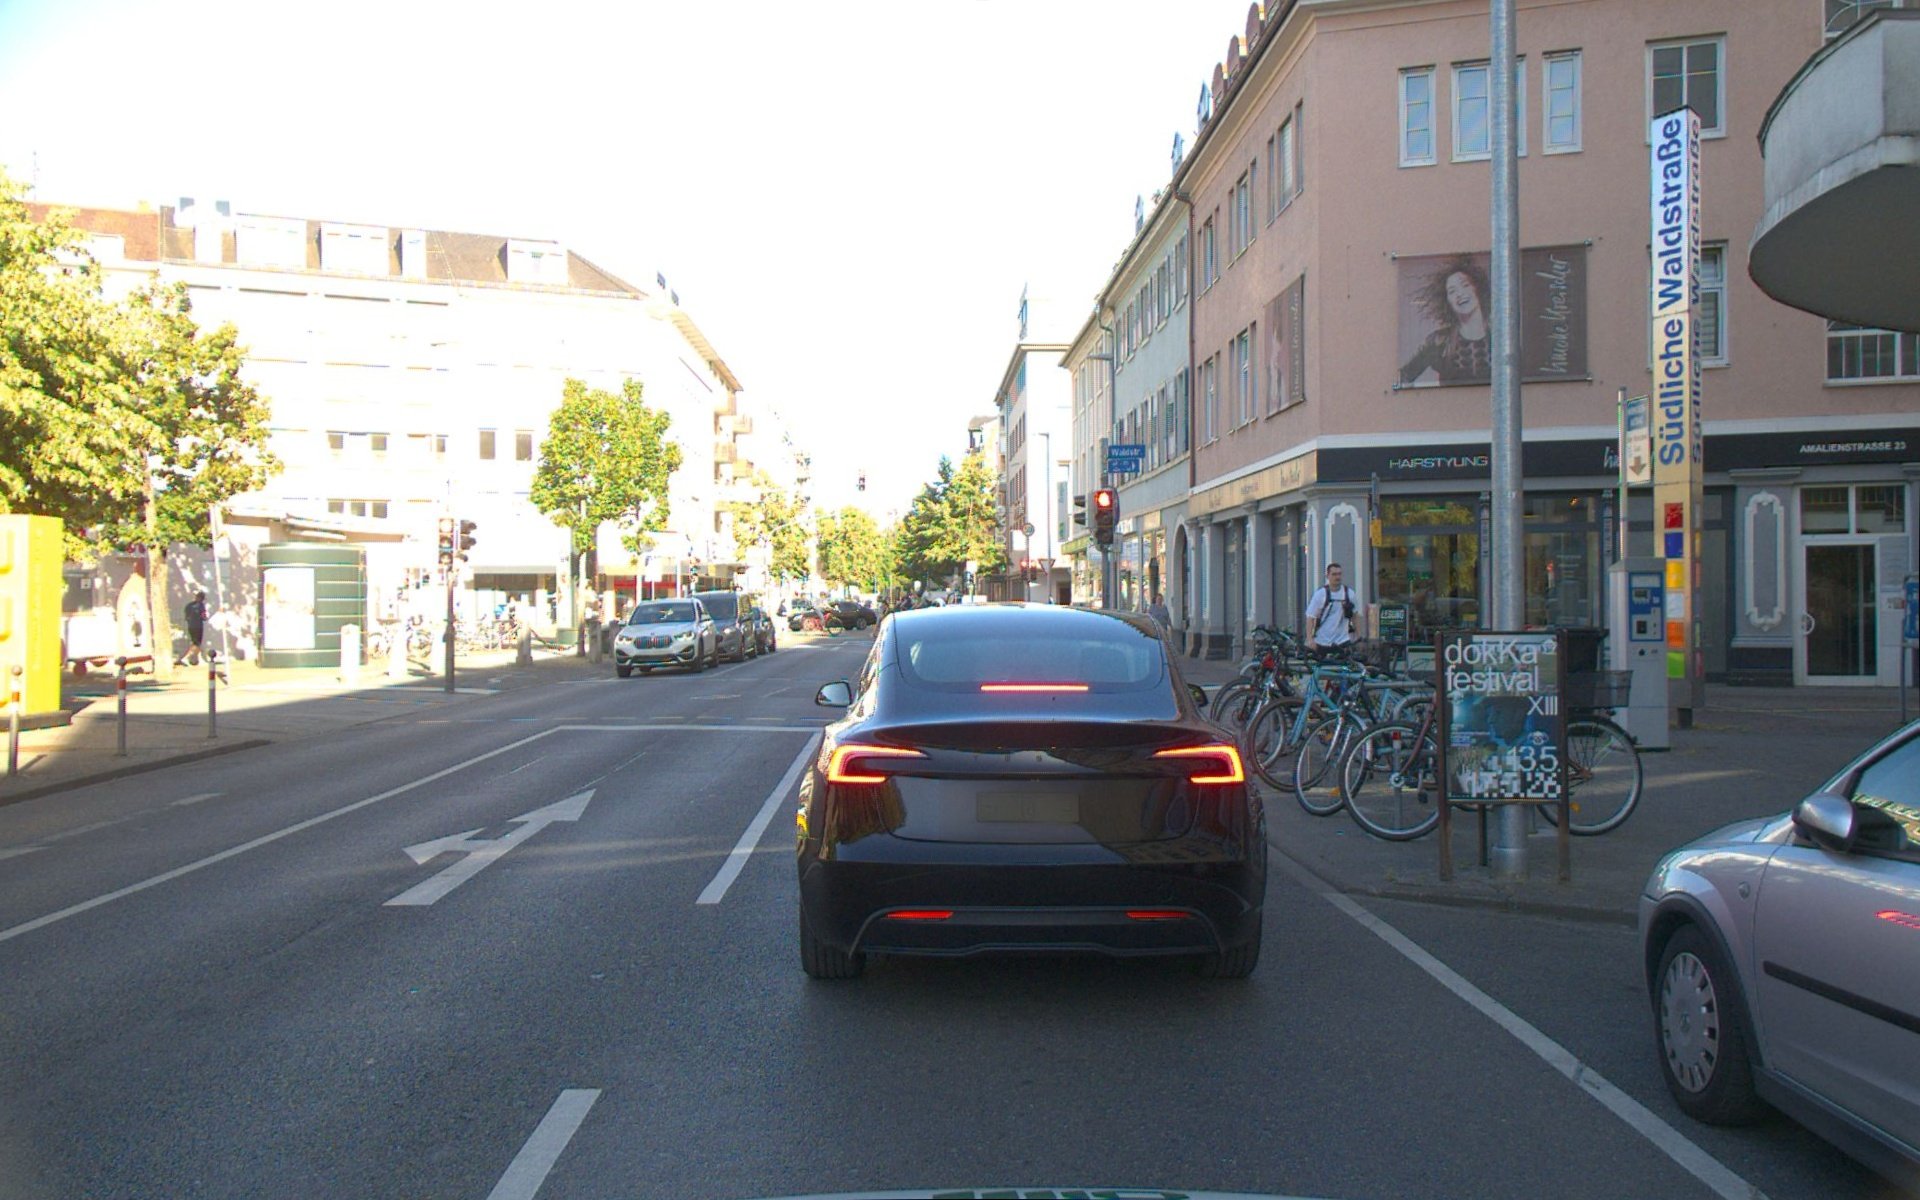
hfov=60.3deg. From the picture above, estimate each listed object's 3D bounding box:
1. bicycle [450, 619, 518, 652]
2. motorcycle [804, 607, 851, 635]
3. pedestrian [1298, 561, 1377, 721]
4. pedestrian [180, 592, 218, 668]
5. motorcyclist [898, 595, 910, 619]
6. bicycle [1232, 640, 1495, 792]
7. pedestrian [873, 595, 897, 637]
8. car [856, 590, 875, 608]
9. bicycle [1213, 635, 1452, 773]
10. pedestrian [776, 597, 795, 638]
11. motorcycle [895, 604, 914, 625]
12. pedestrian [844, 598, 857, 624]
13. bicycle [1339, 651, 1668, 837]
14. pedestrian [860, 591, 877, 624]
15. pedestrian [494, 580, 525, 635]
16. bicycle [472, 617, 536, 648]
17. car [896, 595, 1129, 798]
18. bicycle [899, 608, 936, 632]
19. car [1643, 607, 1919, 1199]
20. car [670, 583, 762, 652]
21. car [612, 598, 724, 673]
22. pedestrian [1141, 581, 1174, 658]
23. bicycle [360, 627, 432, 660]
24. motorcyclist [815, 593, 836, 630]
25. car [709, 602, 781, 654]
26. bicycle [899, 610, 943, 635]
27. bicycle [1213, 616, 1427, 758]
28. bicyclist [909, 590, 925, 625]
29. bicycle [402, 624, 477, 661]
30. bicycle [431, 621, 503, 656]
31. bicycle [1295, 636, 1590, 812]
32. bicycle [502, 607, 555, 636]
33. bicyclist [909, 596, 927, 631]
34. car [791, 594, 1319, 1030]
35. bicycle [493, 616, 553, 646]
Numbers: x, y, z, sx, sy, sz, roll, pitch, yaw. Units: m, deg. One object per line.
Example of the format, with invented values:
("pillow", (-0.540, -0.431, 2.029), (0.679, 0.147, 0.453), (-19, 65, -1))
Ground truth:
("bicycle", (-14.259, 1.049, 49.547), (1.826, 0.950, 0.606), (1, 0, -2))
("motorcycle", (-5.502, 0.858, 68.764), (1.909, 1.130, 0.513), (0, 0, -33))
("pedestrian", (4.363, 0.463, 19.157), (0.735, 1.796, 0.837), (1, -1, 3))
("pedestrian", (-17.598, 0.685, 38.261), (0.465, 1.746, 0.711), (1, -1, 7))
("motorcyclist", (-2.903, 0.374, 86.279), (0.486, 1.275, 0.350), (1, -1, -38))
("bicycle", (3.023, 0.868, 12.509), (1.834, 1.056, 0.533), (-2, -1, 3))
("pedestrian", (-3.039, 0.633, 66.898), (0.742, 1.660, 0.951), (1, -1, -18))
("car", (-10.697, -0.116, 187.022), (1.953, 2.049, 3.999), (0, 0, -1))
("bicycle", (3.055, 0.854, 13.671), (1.833, 1.056, 0.548), (-2, -1, 5))
("pedestrian", (-6.708, 0.685, 63.740), (0.612, 1.565, 0.511), (1, -1, -19))
("motorcycle", (-2.907, 0.750, 86.275), (0.970, 1.105, 0.351), (1, -1, -38))
("pedestrian", (-6.111, 0.593, 92.217), (0.516, 1.447, 0.474), (1, -1, -31))
("bicycle", (3.273, 0.869, 10.047), (1.833, 1.056, 0.353), (-2, -1, 6))
("pedestrian", (-5.106, 0.433, 91.973), (0.666, 1.820, 0.703), (1, -1, -36))
("pedestrian", (-17.123, 0.285, 62.877), (1.041, 2.049, 1.049), (1, -1, -20))
("bicycle", (-14.333, 1.012, 51.985), (1.826, 0.950, 0.606), (0, 0, -2))
("car", (0.309, 0.690, 13.825), (1.683, 1.450, 3.755), (0, 0, -2))
("bicycle", (-1.845, 0.858, 71.639), (1.536, 1.030, 0.480), (1, -1, -25))
("car", (2.919, 0.765, 3.492), (1.515, 1.414, 3.477), (0, 1, 0))
("car", (-6.204, 0.412, 42.485), (1.751, 1.675, 4.401), (0, 0, -1))
("car", (-6.307, 0.745, 36.061), (1.752, 1.485, 3.756), (-2, 0, -1))
("pedestrian", (4.625, 0.453, 38.709), (0.692, 1.773, 0.540), (0, 0, -2))
("bicycle", (-14.453, 1.113, 42.402), (1.612, 0.806, 0.606), (1, 0, -5))
("motorcyclist", (-5.580, 0.480, 68.715), (0.712, 1.555, 0.510), (0, 0, -33))
("car", (-6.426, 0.815, 49.769), (1.680, 1.471, 3.844), (1, 0, -1))
("bicycle", (-1.629, 0.929, 69.045), (1.756, 1.024, 0.469), (1, -1, -17))
("bicycle", (3.198, 0.771, 14.794), (1.789, 1.189, 0.506), (-2, -1, 5))
("bicyclist", (-1.859, 0.317, 71.638), (0.516, 1.530, 0.472), (1, -1, -25))
("bicycle", (-14.149, 1.158, 44.983), (1.826, 0.950, 0.606), (1, 0, -2))
("bicycle", (-14.022, 1.088, 47.077), (1.826, 0.950, 0.606), (1, 0, -2))
("bicycle", (3.239, 0.832, 11.180), (1.834, 1.106, 0.414), (-2, -1, 3))
("bicycle", (-20.279, 1.025, 77.730), (2.334, 1.318, 0.509), (1, -1, -27))
("bicyclist", (-1.746, 0.570, 69.005), (0.659, 1.420, 0.460), (1, -1, -17))
("car", (0.297, 0.726, 7.602), (1.785, 1.467, 3.999), (0, 0, -1))
("bicycle", (-14.368, 1.021, 54.433), (1.826, 0.950, 0.606), (0, 0, -2))
